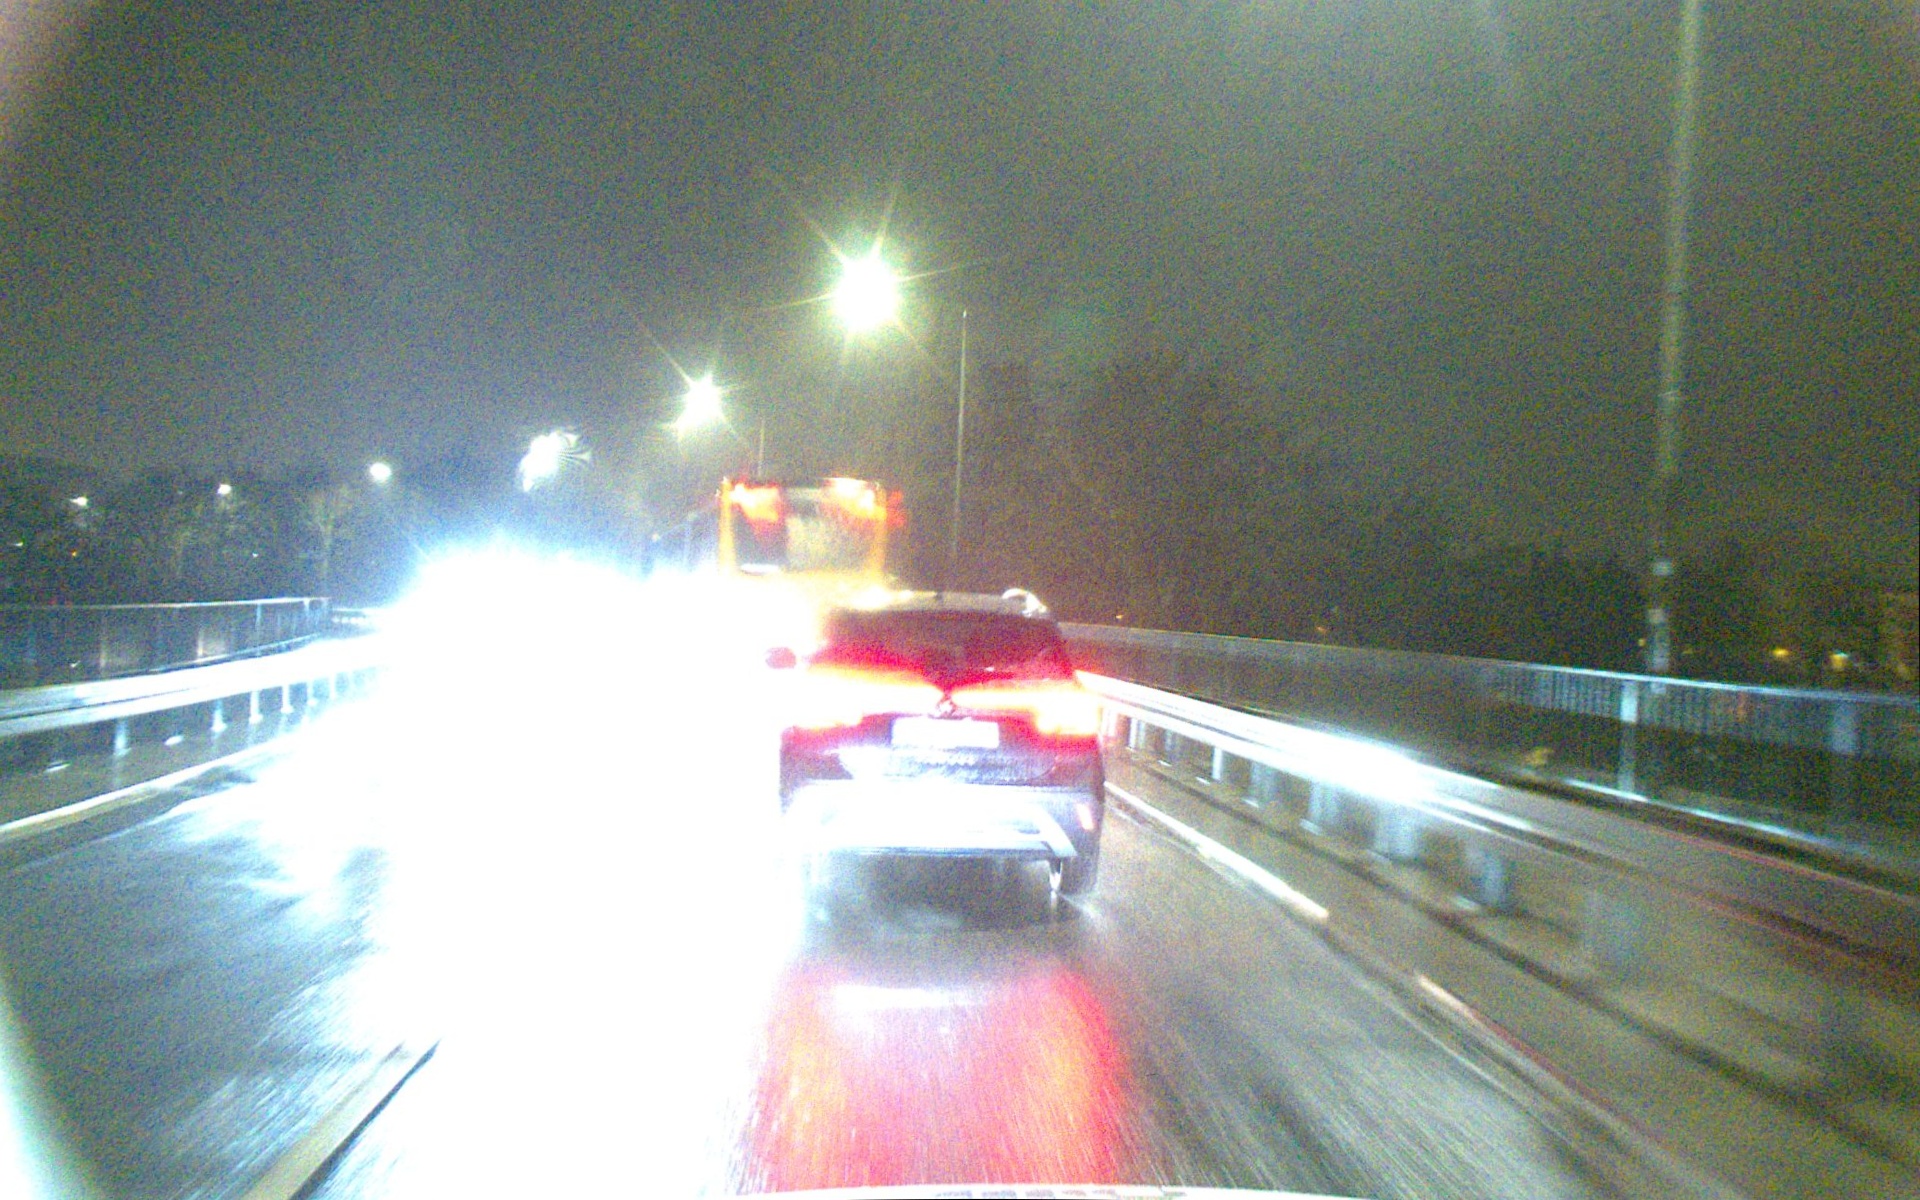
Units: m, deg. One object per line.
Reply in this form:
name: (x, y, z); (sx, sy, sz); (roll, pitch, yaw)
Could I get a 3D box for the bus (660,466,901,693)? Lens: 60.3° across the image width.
bus: (-3.649, -0.318, 29.708); (3.029, 3.187, 12.658); (0, 0, -12)

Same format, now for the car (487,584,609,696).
car: (-6.905, 0.625, 28.049); (1.746, 1.734, 4.303); (0, 0, -11)

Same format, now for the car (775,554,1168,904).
car: (-0.081, 0.614, 9.695); (1.819, 1.614, 3.996); (1, 0, -4)

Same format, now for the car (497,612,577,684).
car: (-10.816, 1.179, 42.112); (1.764, 1.659, 3.973); (1, 0, -17)

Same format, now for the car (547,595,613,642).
car: (-14.671, 0.717, 63.759); (1.617, 1.685, 3.676); (-1, -2, -27)

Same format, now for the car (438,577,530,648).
car: (-15.741, 0.396, 54.543); (2.020, 2.208, 5.109); (0, 0, -27)
